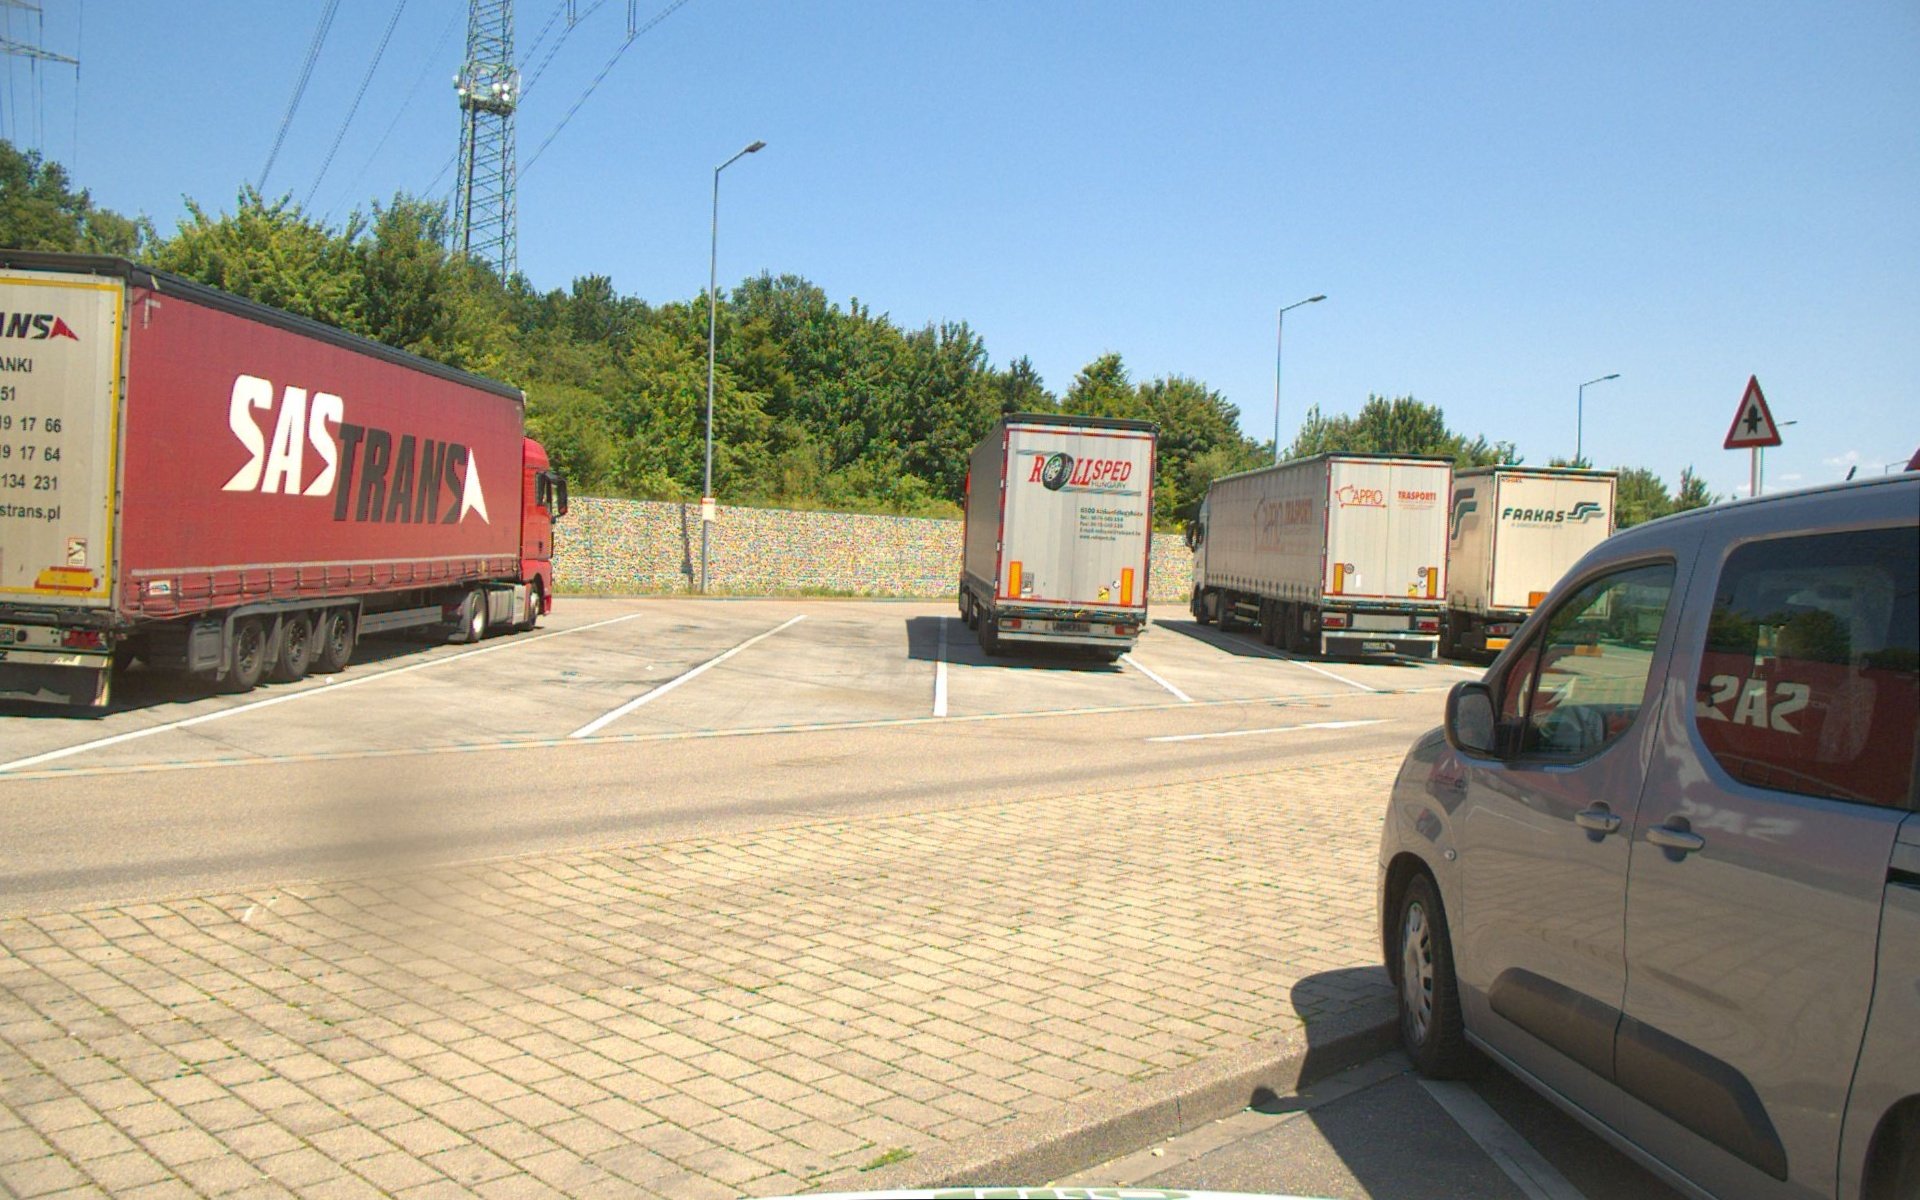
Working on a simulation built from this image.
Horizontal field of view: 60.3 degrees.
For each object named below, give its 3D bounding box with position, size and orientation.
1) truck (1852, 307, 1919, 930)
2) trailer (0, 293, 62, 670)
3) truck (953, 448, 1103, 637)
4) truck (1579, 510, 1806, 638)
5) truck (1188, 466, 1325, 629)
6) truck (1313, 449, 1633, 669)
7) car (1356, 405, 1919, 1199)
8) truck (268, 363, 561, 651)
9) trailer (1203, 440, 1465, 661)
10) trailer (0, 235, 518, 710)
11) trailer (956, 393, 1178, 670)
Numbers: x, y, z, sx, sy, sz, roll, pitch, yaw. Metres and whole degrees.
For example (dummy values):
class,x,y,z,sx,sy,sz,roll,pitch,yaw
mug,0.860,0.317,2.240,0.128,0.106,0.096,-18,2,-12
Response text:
class,x,y,z,sx,sy,sz,roll,pitch,yaw
truck,4.971,0.128,4.950,1.952,2.669,5.305,1,1,3
trailer,-12.418,-1.312,15.460,2.689,4.337,9.733,1,1,0
truck,1.457,-1.381,39.457,2.965,3.997,6.845,2,2,-2
truck,21.948,-0.808,50.199,2.963,3.497,8.529,1,1,-1
truck,8.062,-1.412,45.622,2.701,4.196,5.283,1,1,-1
truck,11.707,-0.957,40.007,2.846,4.195,14.525,3,1,-1
car,2.425,0.555,3.829,1.790,1.784,3.997,1,1,-4
truck,-8.784,-1.422,27.551,2.687,4.152,6.828,1,1,-1
trailer,8.196,-1.087,38.623,2.818,4.196,13.569,1,1,-1
trailer,-8.690,-1.262,21.090,2.694,4.128,13.284,1,1,-1
trailer,1.690,-1.316,32.691,3.008,4.301,12.805,2,2,-2
